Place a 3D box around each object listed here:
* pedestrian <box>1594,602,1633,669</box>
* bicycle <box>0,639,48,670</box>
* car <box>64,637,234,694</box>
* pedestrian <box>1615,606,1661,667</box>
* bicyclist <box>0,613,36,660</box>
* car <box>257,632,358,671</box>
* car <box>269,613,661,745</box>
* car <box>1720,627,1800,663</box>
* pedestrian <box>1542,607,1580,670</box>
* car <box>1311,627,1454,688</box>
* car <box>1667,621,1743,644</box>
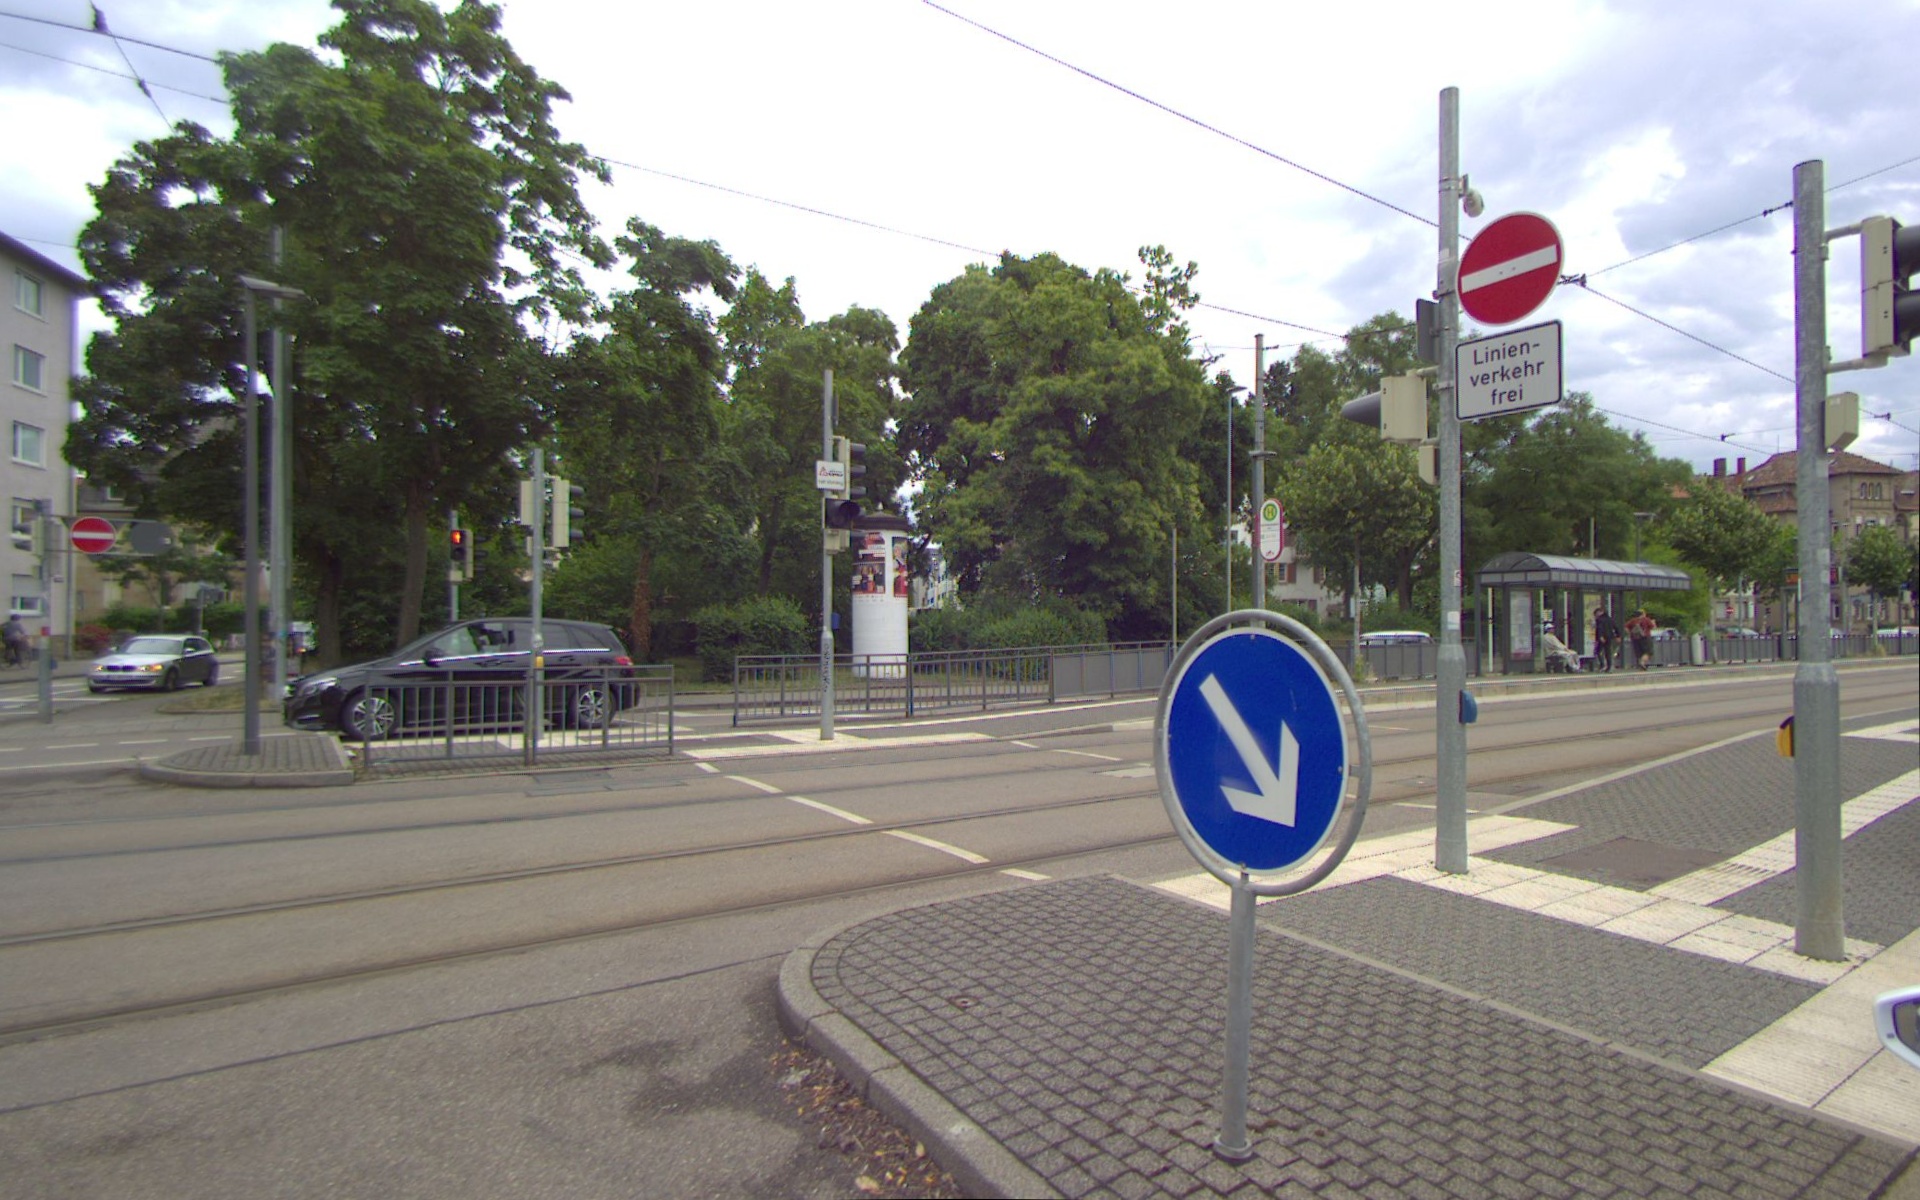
[{"bbox_3d":[17.192,0.940,26.440,0.694,1.738,0.693,1,-2,-43],"label":"pedestrian"},{"bbox_3d":[-32.517,1.867,34.688,0.645,1.016,1.961,0,-2,-14],"label":"bicycle"},{"bbox_3d":[-21.381,1.683,26.704,1.966,1.372,4.026,0,-2,-14],"label":"car"},{"bbox_3d":[19.051,1.028,28.240,1.015,1.682,0.763,1,-2,-38],"label":"pedestrian"},{"bbox_3d":[-32.487,1.242,34.573,0.647,1.585,0.859,0,-1,-14],"label":"bicyclist"},{"bbox_3d":[-24.703,1.919,38.203,1.966,1.372,4.026,0,-2,-14],"label":"car"},{"bbox_3d":[-6.561,0.970,13.600,4.497,1.513,1.756,1,-2,-39],"label":"car"},{"bbox_3d":[35.067,1.928,44.013,3.848,1.513,1.759,1,-2,-35],"label":"car"},{"bbox_3d":[15.935,1.023,26.648,0.673,1.645,0.628,1,-2,-35],"label":"pedestrian"},{"bbox_3d":[11.291,1.475,26.791,3.848,1.513,1.759,1,-2,-35],"label":"car"},{"bbox_3d":[51.322,2.216,69.284,1.758,1.513,3.850,1,-2,-34],"label":"car"}]
